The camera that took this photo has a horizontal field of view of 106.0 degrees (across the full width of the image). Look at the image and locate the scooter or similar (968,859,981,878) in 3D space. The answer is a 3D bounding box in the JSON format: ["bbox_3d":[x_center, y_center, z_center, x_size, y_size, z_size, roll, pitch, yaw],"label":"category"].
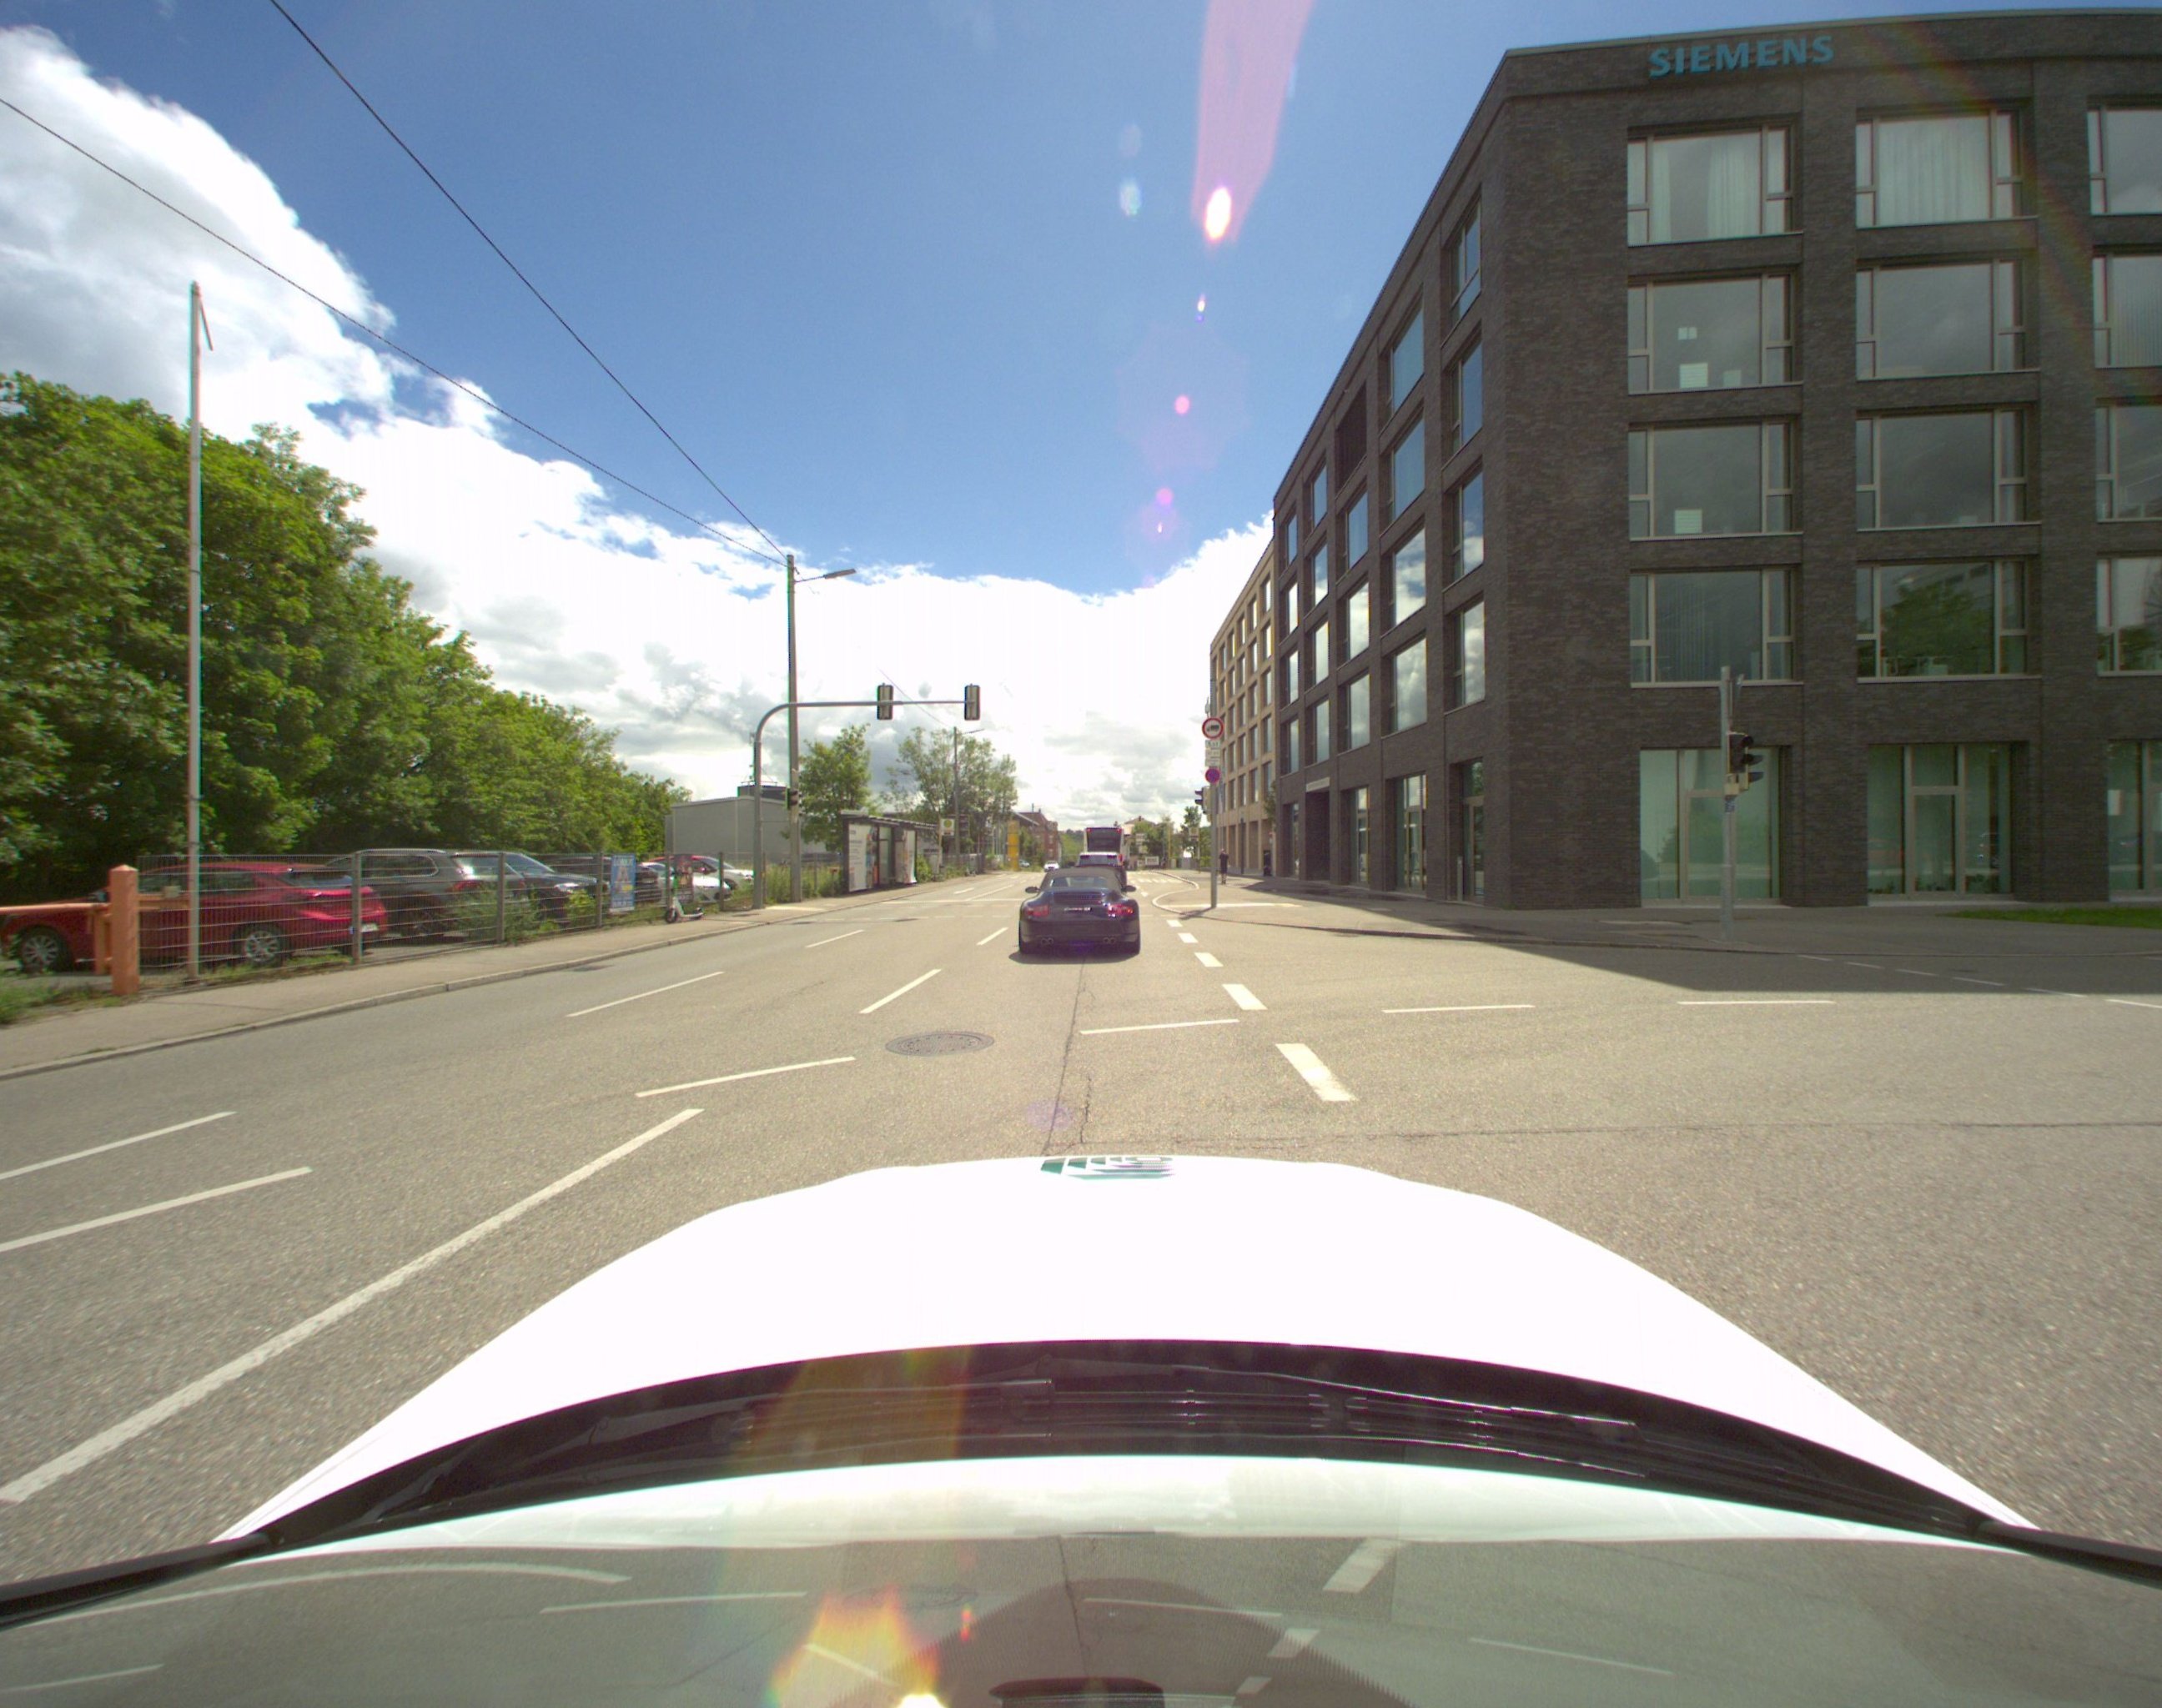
[{"bbox_3d":[-7.459,1.018,57.073,0.532,1.266,1.474,1,0,6],"label":"scooter or similar"}]

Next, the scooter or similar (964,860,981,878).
[{"bbox_3d":[-7.404,1.018,55.573,0.530,1.262,1.478,1,0,18],"label":"scooter or similar"}]

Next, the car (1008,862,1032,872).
[{"bbox_3d":[-9.661,2.094,128.999,1.913,1.573,4.578,-1,-2,24],"label":"car"}]

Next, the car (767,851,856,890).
[{"bbox_3d":[-14.981,0.908,45.480,4.271,2.014,2.136,-1,-1,-6],"label":"car"}]

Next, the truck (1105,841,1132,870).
[{"bbox_3d":[4.160,0.197,91.469,2.704,3.054,7.714,-1,0,1],"label":"truck"}]

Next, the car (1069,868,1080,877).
[{"bbox_3d":[-1.048,3.087,135.052,1.824,1.509,4.275,-1,-2,-1],"label":"car"}]

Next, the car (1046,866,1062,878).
[{"bbox_3d":[-3.447,2.218,103.622,1.790,1.376,4.225,-2,0,1],"label":"car"}]

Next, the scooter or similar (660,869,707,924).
[{"bbox_3d":[-9.120,0.961,18.709,0.421,1.210,1.128,1,0,6],"label":"scooter or similar"}]

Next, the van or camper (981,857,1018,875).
[{"bbox_3d":[-11.539,1.694,115.282,5.010,2.531,2.318,0,0,0],"label":"van or camper"}]

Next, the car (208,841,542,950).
[{"bbox_3d":[-12.418,0.693,14.589,4.093,1.734,1.998,-1,0,-3],"label":"car"}]

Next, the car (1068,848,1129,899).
[{"bbox_3d":[0.534,0.631,27.761,1.925,1.583,4.206,0,0,-1],"label":"car"}]

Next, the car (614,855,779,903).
[{"bbox_3d":[-12.240,0.787,26.097,4.293,1.419,2.026,-1,0,2],"label":"car"}]

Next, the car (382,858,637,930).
[{"bbox_3d":[-12.253,0.827,17.684,4.089,1.419,2.000,-1,0,0],"label":"car"}]

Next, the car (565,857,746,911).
[{"bbox_3d":[-11.935,0.820,23.050,4.087,1.419,1.917,-1,0,1],"label":"car"}]

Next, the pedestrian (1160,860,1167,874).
[{"bbox_3d":[8.943,1.445,88.504,0.685,1.536,0.856,-1,-1,1],"label":"pedestrian"}]

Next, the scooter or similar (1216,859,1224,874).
[{"bbox_3d":[11.187,0.986,65.533,0.425,1.153,1.404,-1,-1,1],"label":"scooter or similar"}]

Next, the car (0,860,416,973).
[{"bbox_3d":[-12.428,0.825,11.809,3.849,1.419,1.898,-1,0,-8],"label":"car"}]

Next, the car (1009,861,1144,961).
[{"bbox_3d":[0.020,0.831,13.738,1.923,1.376,4.210,0,0,2],"label":"car"}]

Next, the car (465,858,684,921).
[{"bbox_3d":[-12.344,0.830,20.094,4.091,1.419,1.999,-1,0,-2],"label":"car"}]

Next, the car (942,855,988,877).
[{"bbox_3d":[-11.137,1.133,78.493,4.149,2.013,2.197,0,0,-2],"label":"car"}]

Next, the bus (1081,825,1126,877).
[{"bbox_3d":[1.675,-0.178,56.655,2.791,3.198,12.203,0,0,3],"label":"bus"}]

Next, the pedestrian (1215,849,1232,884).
[{"bbox_3d":[7.065,0.602,40.287,0.681,1.728,0.962,0,0,1],"label":"pedestrian"}]
